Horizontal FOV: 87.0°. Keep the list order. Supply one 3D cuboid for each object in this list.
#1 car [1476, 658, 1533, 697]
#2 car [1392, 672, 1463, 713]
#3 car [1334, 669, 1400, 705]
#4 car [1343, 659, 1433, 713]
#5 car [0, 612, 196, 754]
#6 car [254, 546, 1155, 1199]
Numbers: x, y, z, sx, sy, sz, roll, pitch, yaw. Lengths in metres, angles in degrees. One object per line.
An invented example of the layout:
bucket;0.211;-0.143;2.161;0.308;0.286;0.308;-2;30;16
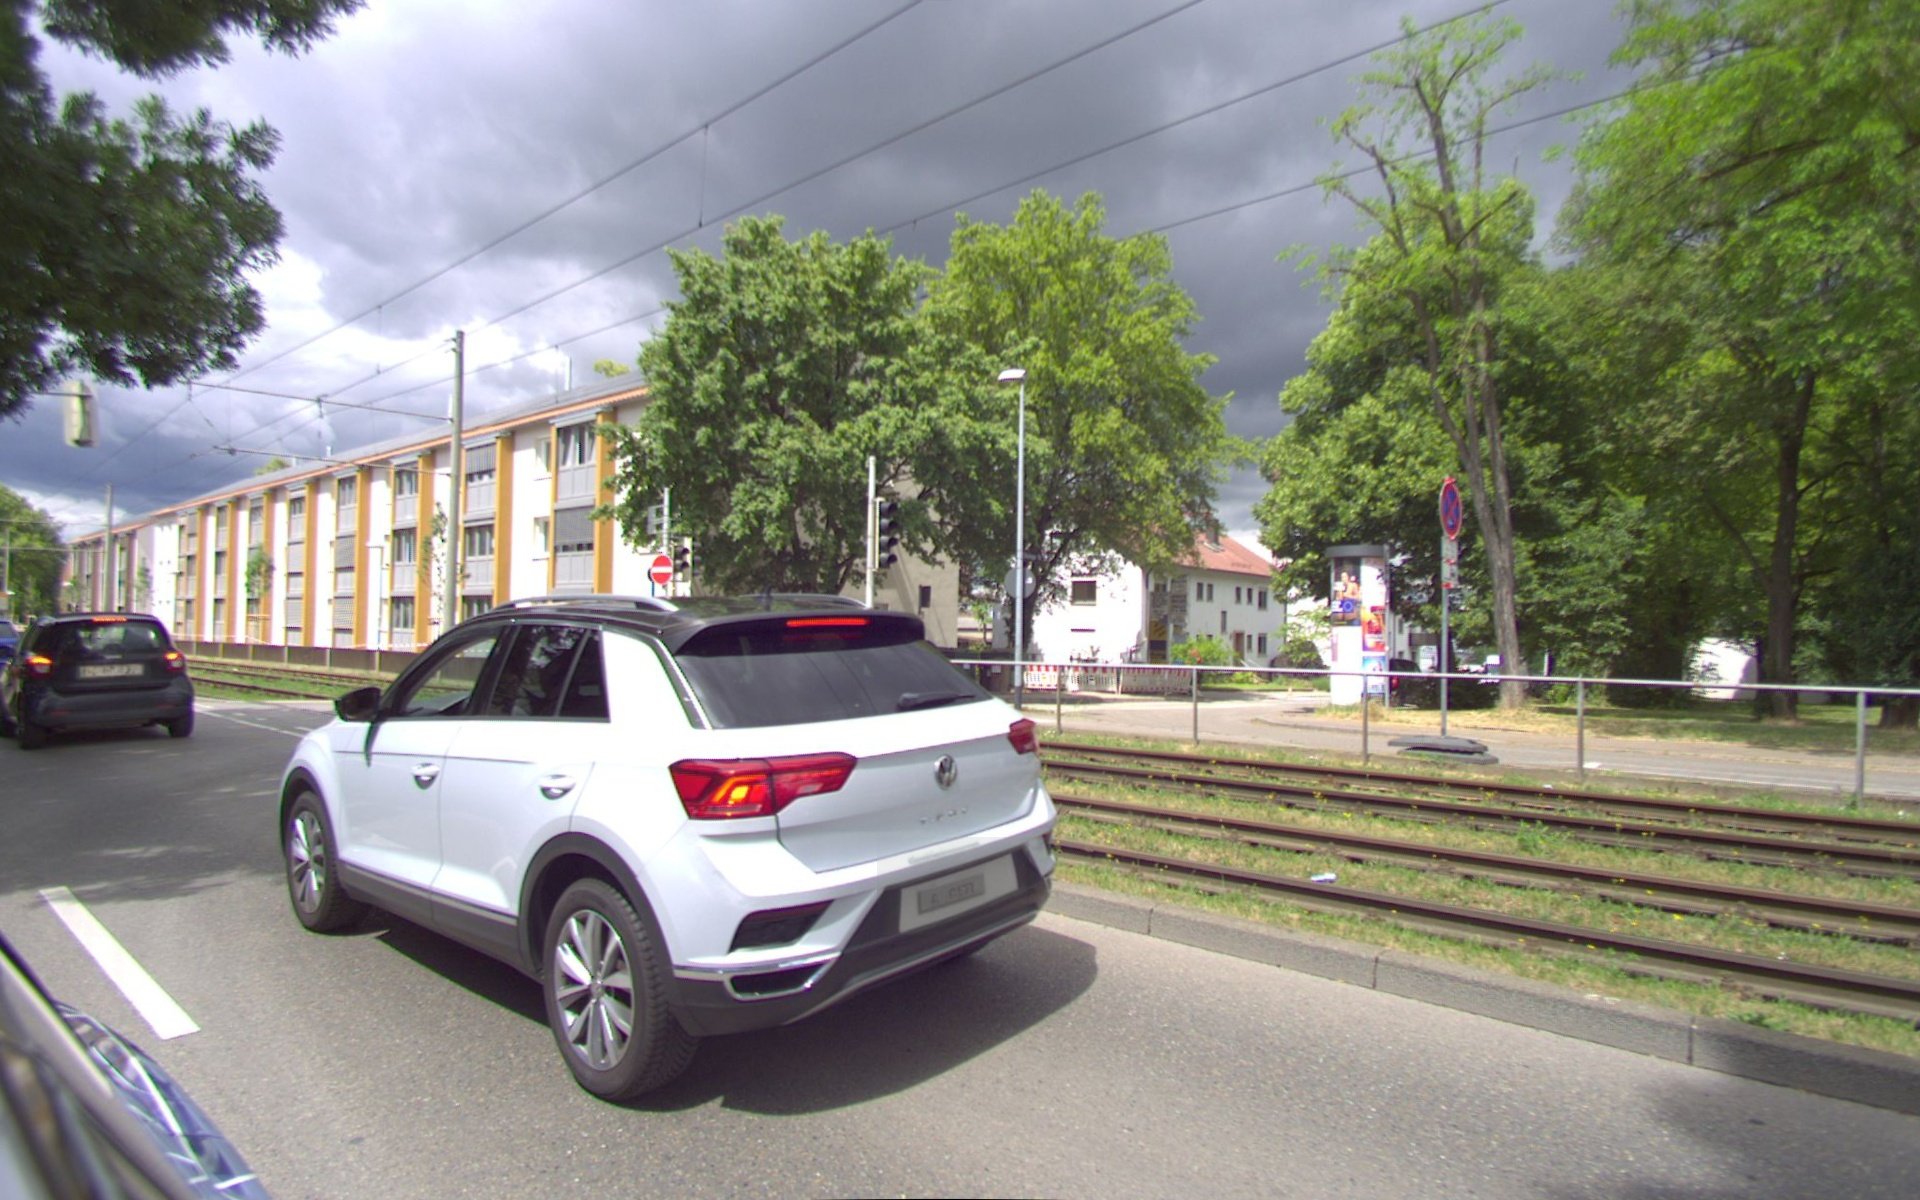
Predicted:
car;31.166;4.426;57.879;2.000;2.118;3.944;0;-4;42
car;20.302;3.962;43.863;1.852;1.500;3.947;0;-2;39
car;26.551;5.667;66.042;3.623;2.029;1.938;0;0;41
car;16.404;3.256;38.700;2.000;1.873;3.944;0;-4;42
car;-11.142;0.960;12.833;3.272;1.545;1.620;-2;-1;40
car;-1.375;0.704;4.296;3.997;1.556;1.699;-2;-1;40
